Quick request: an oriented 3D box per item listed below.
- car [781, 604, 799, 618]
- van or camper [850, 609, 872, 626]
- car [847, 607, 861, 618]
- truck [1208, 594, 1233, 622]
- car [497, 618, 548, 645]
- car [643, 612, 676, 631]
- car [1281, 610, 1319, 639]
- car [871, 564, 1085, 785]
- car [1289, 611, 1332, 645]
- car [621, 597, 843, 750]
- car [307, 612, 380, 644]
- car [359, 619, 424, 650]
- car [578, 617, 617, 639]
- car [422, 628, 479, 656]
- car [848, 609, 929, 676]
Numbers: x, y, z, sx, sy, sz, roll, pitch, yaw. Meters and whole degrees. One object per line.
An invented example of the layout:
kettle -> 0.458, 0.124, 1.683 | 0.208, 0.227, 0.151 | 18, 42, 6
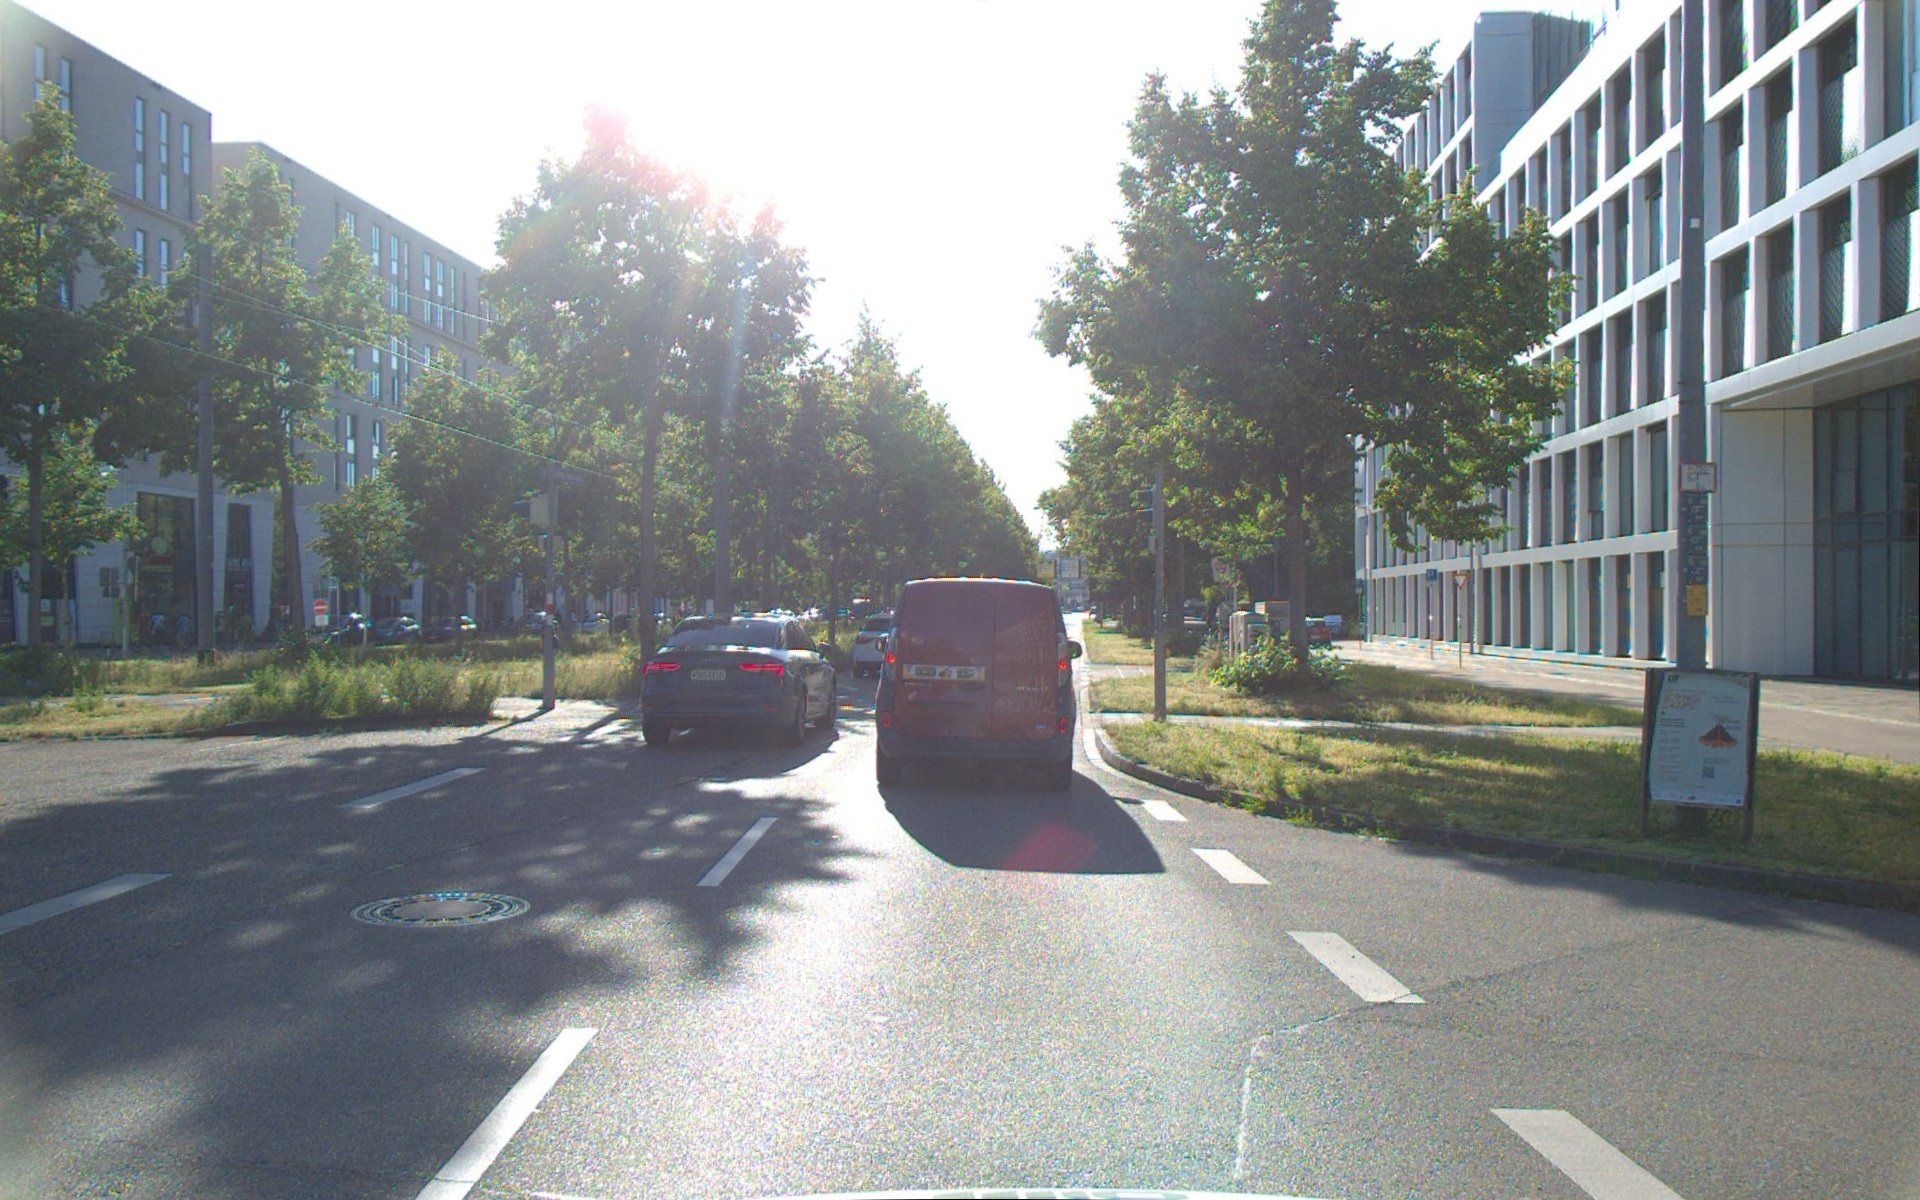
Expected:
car -> -22.562, 1.422, 219.089 | 1.696, 1.803, 4.002 | 0, 0, 4
van or camper -> -10.481, 1.857, 175.192 | 1.782, 1.769, 3.714 | 0, 0, 4
car -> -15.298, 1.835, 239.345 | 1.568, 1.583, 4.002 | 0, 0, 4
truck -> 24.483, 0.783, 155.344 | 1.793, 2.545, 5.935 | 0, -1, 4
car -> -25.633, 1.852, 97.043 | 1.738, 1.555, 3.808 | 0, 0, 4
car -> -22.214, 1.603, 122.251 | 1.547, 1.366, 3.714 | 0, 0, 4
car -> 18.417, 1.311, 89.753 | 1.780, 1.559, 3.439 | 0, 0, 8
car -> 0.144, 0.603, 15.728 | 1.771, 1.825, 4.113 | 0, 0, 0
car -> 17.929, 1.414, 84.762 | 1.721, 1.640, 3.906 | 0, 0, 6
car -> -2.473, 0.751, 18.930 | 1.770, 1.554, 4.114 | 0, 0, 3
car -> -26.630, 1.204, 71.561 | 1.547, 1.366, 3.714 | 0, 0, 4
car -> -26.542, 1.598, 77.322 | 1.547, 1.366, 3.714 | 0, 0, 4
car -> -24.058, 1.842, 109.747 | 1.547, 1.366, 3.714 | 0, 0, 4
car -> -25.871, 2.128, 84.151 | 1.547, 1.366, 3.714 | 0, 0, 4
car -> -1.657, 0.937, 38.166 | 1.772, 1.460, 4.110 | 0, 0, -3
